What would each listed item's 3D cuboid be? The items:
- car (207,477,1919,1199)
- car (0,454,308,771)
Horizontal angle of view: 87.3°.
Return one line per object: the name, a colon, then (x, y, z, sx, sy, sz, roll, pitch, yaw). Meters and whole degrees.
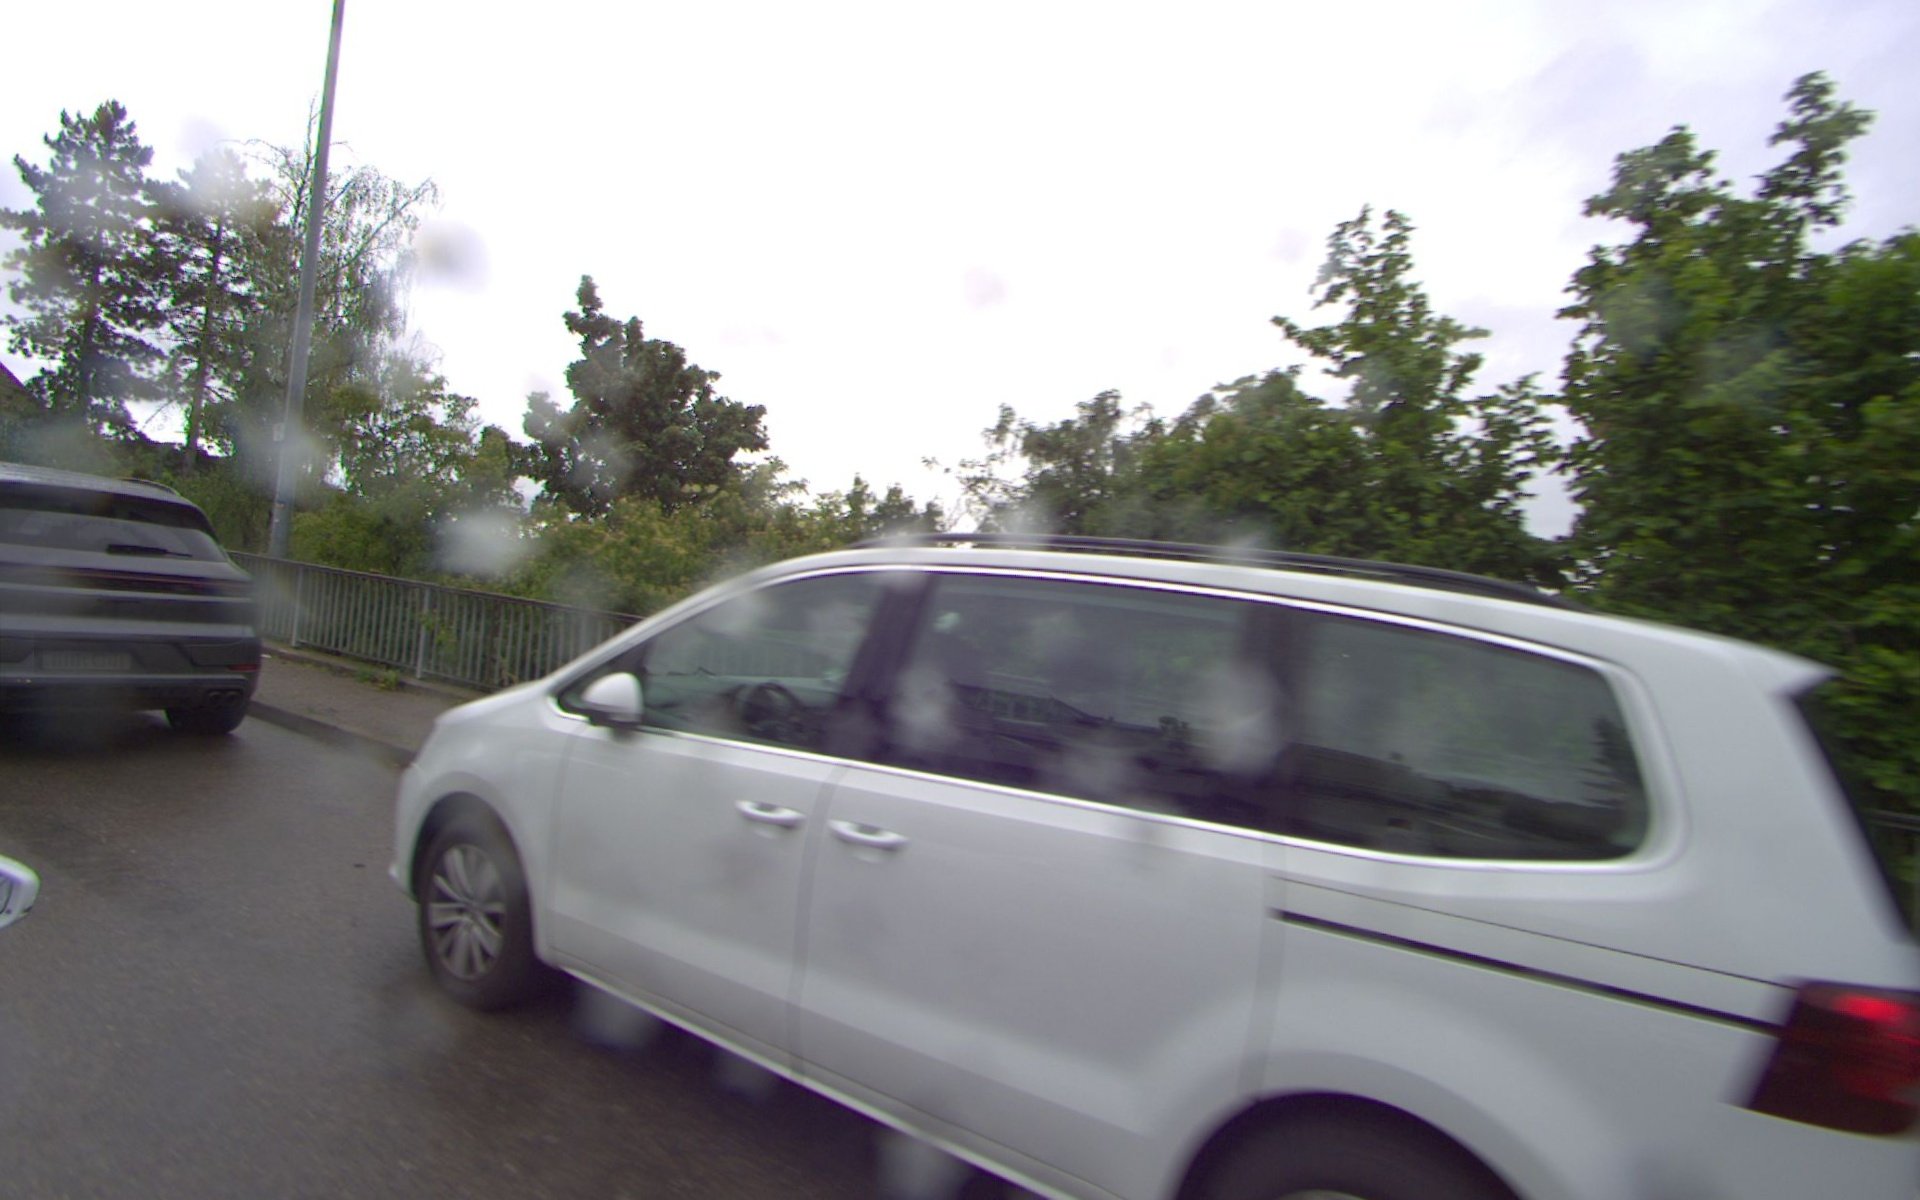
car: (-0.100, 0.677, 3.353, 5.545, 1.704, 1.848, 6, -1, 32)
car: (-6.780, -0.100, 7.032, 4.618, 1.692, 1.938, 6, -1, 33)
